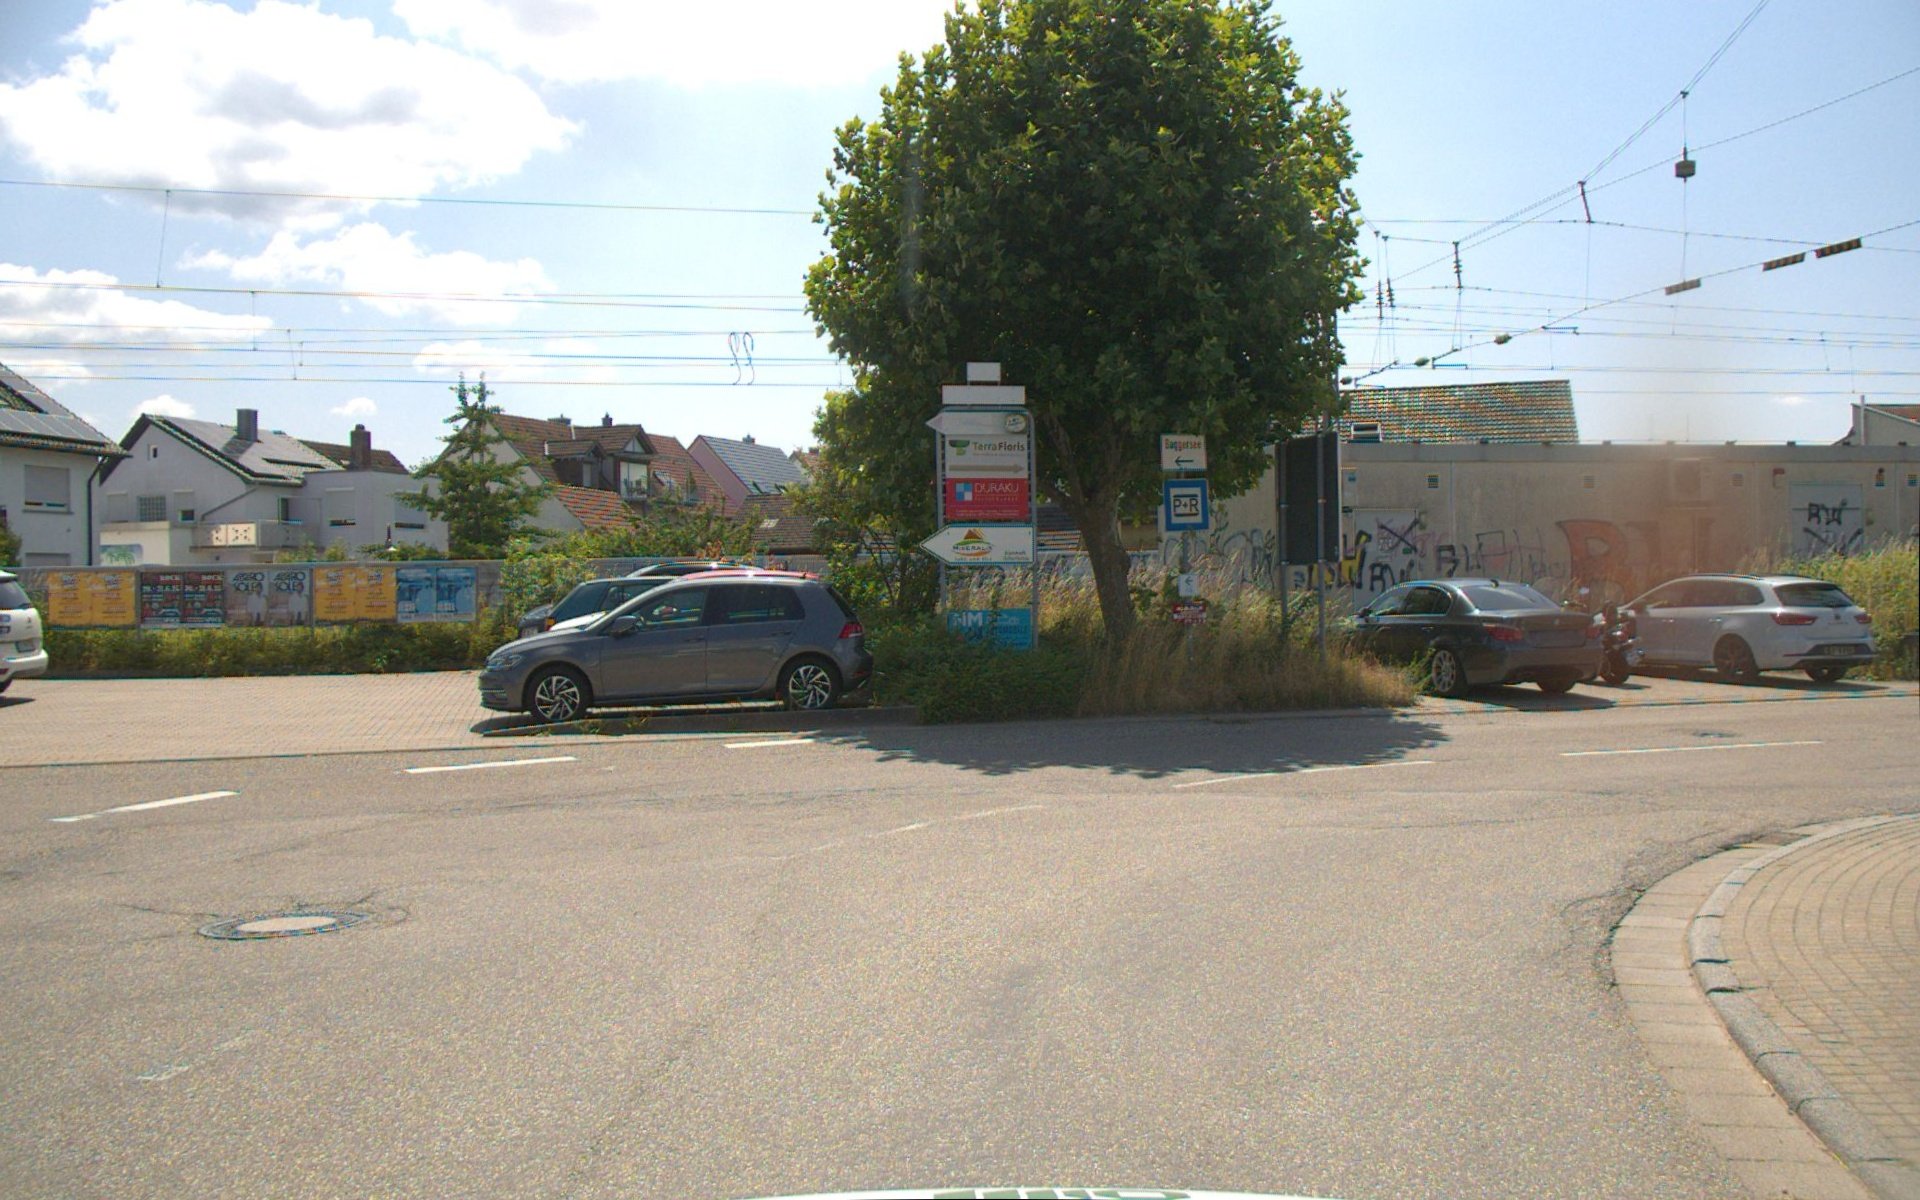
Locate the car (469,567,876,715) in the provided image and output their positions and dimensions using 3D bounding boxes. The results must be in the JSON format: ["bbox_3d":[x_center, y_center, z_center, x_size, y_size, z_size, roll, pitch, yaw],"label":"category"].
[{"bbox_3d":[-3.046,0.408,17.791,4.111,1.488,1.660,0,0,-10],"label":"car"}]

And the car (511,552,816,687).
[{"bbox_3d":[-4.033,0.232,22.681,3.916,1.686,1.995,-1,0,-11],"label":"car"}]

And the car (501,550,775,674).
[{"bbox_3d":[-4.864,0.192,25.183,3.916,1.760,1.765,1,-1,-11],"label":"car"}]

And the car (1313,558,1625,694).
[{"bbox_3d":[6.428,0.262,21.354,1.727,1.410,3.976,0,3,-21],"label":"car"}]

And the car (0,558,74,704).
[{"bbox_3d":[-13.513,0.351,20.121,4.371,1.720,1.995,0,1,-10],"label":"car"}]

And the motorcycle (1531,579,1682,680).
[{"bbox_3d":[8.762,0.368,22.520,0.883,1.250,1.986,-1,2,-17],"label":"motorcycle"}]

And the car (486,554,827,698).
[{"bbox_3d":[-3.693,0.293,20.344,3.916,1.614,1.775,-1,0,-11],"label":"car"}]

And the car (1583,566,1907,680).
[{"bbox_3d":[10.826,0.258,23.143,1.678,1.401,4.090,0,1,-20],"label":"car"}]
